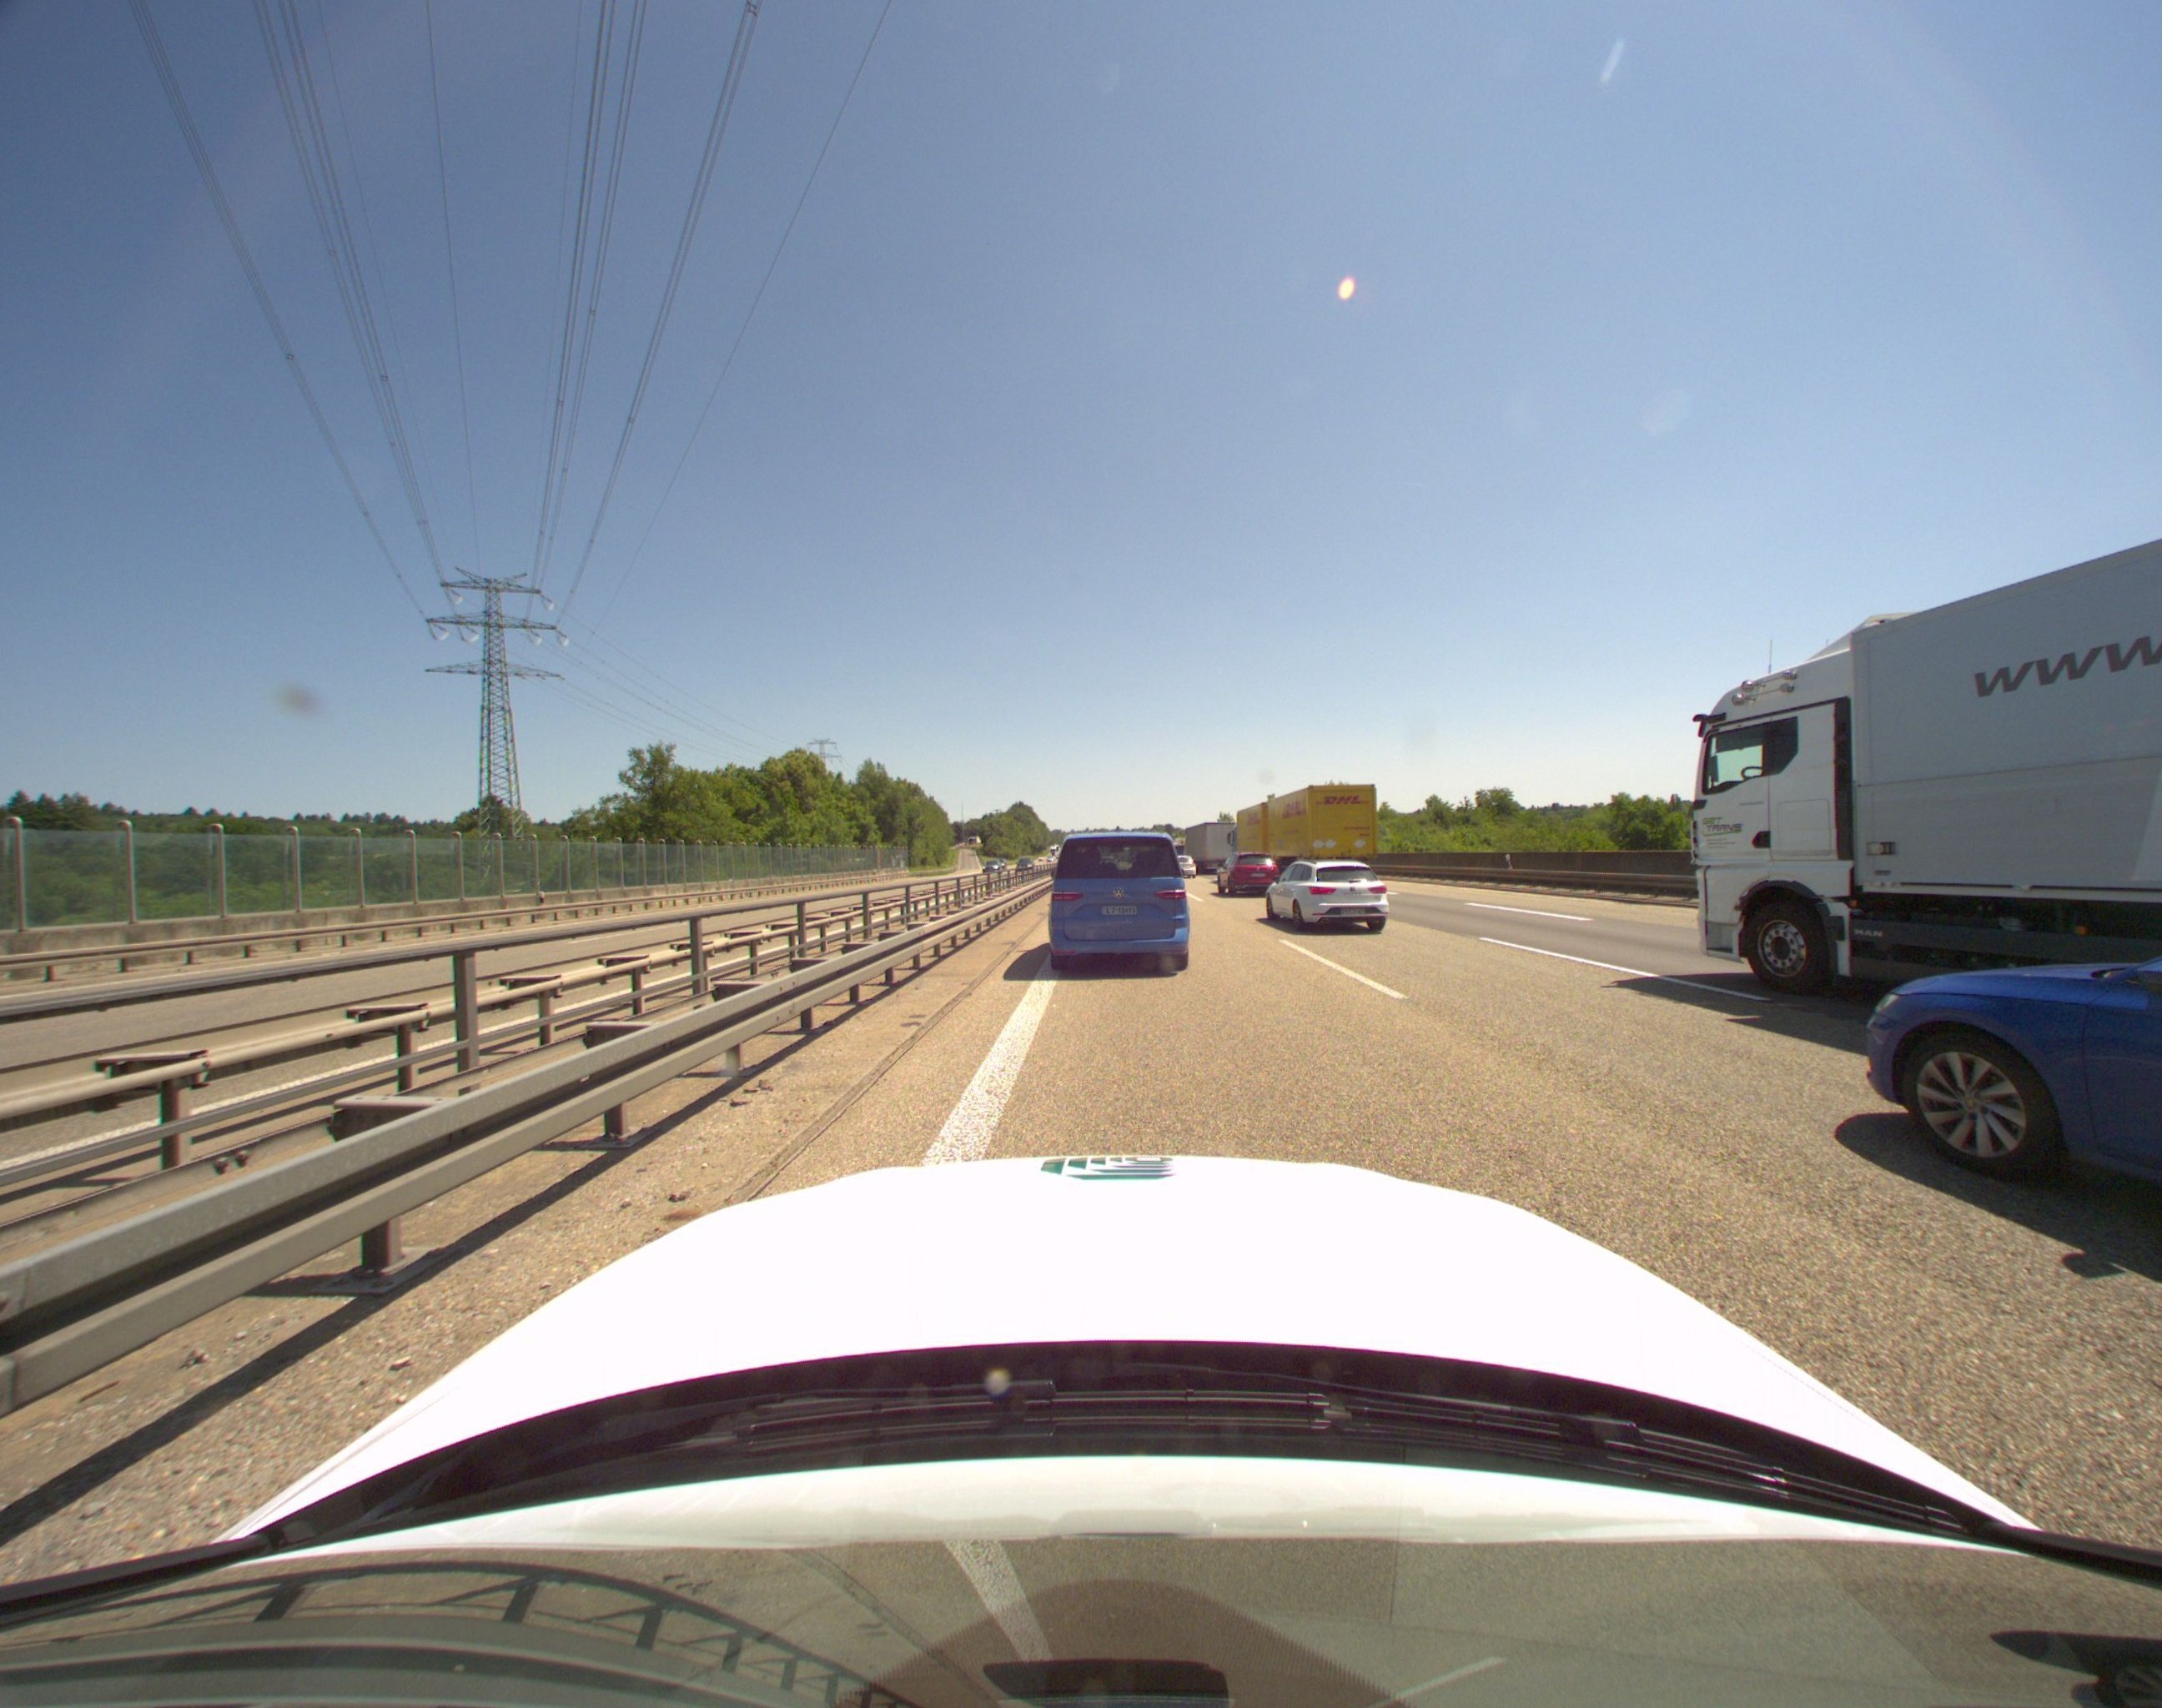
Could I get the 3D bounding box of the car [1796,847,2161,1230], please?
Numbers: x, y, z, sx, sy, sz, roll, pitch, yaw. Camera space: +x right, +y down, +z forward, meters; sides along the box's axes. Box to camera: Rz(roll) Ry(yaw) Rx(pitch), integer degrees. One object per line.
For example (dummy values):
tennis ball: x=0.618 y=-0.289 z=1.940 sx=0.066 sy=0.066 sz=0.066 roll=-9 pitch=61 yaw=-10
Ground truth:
car: x=4.922 y=0.690 z=2.417 sx=1.703 sy=1.440 sz=4.501 roll=-1 pitch=0 yaw=1

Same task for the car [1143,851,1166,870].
car: x=6.807 y=0.601 z=75.726 sx=1.710 sy=1.587 sz=3.819 roll=-2 pitch=0 yaw=-1

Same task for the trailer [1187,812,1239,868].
trailer: x=10.555 y=-0.988 z=66.429 sx=2.744 sy=4.146 sz=11.316 roll=0 pitch=-1 yaw=2

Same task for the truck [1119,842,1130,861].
truck: x=13.385 y=-0.673 z=250.111 sx=2.824 sy=5.373 sz=12.554 roll=0 pitch=-1 yaw=1

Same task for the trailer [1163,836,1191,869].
trailer: x=11.530 y=-0.086 z=98.624 sx=2.371 sy=3.744 sz=11.191 roll=0 pitch=-1 yaw=1

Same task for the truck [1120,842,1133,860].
truck: x=12.742 y=-0.825 z=229.244 sx=2.824 sy=4.886 sz=13.220 roll=-3 pitch=0 yaw=0

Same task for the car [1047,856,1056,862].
car: x=-7.388 y=1.242 z=202.990 sx=1.903 sy=1.394 sz=4.166 roll=-3 pitch=-1 yaw=2

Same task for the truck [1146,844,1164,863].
truck: x=13.308 y=-0.010 z=146.959 sx=2.347 sy=3.218 sz=9.740 roll=0 pitch=-1 yaw=0

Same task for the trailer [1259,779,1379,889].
trailer: x=9.722 y=-0.689 z=34.405 sx=2.691 sy=4.023 sz=8.934 roll=0 pitch=-1 yaw=2

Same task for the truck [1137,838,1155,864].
truck: x=13.119 y=-0.610 z=164.432 sx=2.824 sy=5.040 sz=11.145 roll=0 pitch=-1 yaw=0

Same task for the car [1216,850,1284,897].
car: x=6.300 y=0.676 z=30.760 sx=1.844 sy=1.608 sz=4.002 roll=-1 pitch=0 yaw=2

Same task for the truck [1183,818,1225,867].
truck: x=10.735 y=-0.946 z=71.663 sx=2.758 sy=4.095 sz=6.985 roll=0 pitch=-1 yaw=1

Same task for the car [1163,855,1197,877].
car: x=6.683 y=0.785 z=55.256 sx=1.832 sy=1.414 sz=4.000 roll=-1 pitch=0 yaw=0

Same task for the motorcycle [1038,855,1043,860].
motorcycle: x=-11.367 y=0.947 z=228.829 sx=1.361 sy=1.099 sz=2.577 roll=-4 pitch=0 yaw=1

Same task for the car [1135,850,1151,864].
car: x=7.430 y=0.374 z=98.511 sx=1.709 sy=1.540 sz=3.823 roll=-3 pitch=0 yaw=2

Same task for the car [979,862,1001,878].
car: x=-9.881 y=1.712 z=88.486 sx=1.748 sy=1.547 sz=4.001 roll=-4 pitch=-1 yaw=2

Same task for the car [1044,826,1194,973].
car: x=0.548 y=0.582 z=12.356 sx=1.875 sy=1.837 sz=4.002 roll=-1 pitch=0 yaw=2

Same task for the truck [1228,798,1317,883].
truck: x=10.060 y=-0.581 z=44.060 sx=2.712 sy=4.055 sz=10.340 roll=0 pitch=-1 yaw=2

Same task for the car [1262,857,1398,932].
car: x=5.184 y=0.774 z=17.546 sx=1.774 sy=1.387 sz=4.190 roll=-1 pitch=0 yaw=2

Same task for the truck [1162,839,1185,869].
truck: x=11.754 y=-0.010 z=104.217 sx=2.359 sy=3.722 sz=6.035 roll=0 pitch=-1 yaw=1

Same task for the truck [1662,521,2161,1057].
truck: x=8.676 y=-0.448 z=4.937 sx=2.840 sy=3.603 sz=10.771 roll=0 pitch=-1 yaw=1

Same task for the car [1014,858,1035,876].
car: x=-5.934 y=1.383 z=86.536 sx=1.748 sy=1.721 sz=4.103 roll=-3 pitch=0 yaw=2
